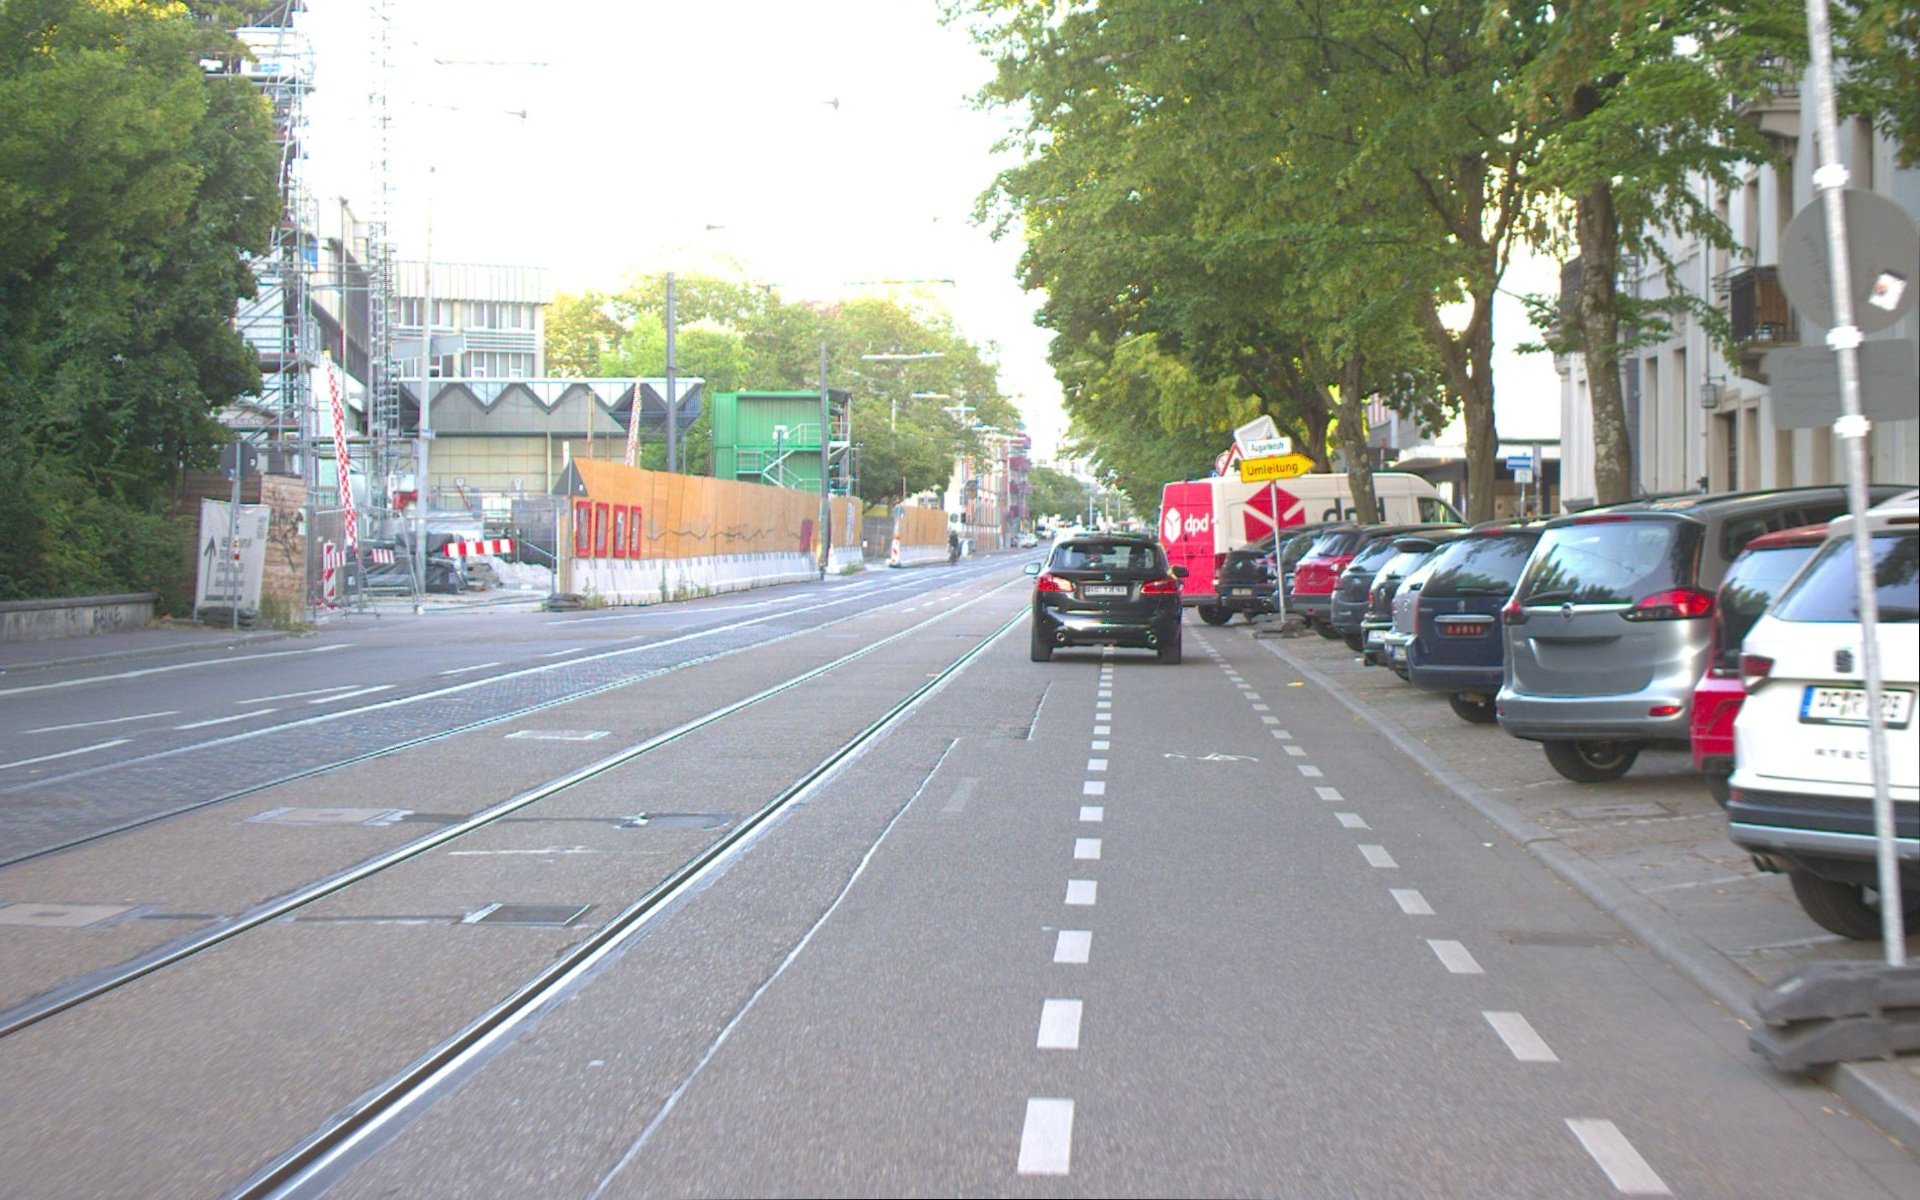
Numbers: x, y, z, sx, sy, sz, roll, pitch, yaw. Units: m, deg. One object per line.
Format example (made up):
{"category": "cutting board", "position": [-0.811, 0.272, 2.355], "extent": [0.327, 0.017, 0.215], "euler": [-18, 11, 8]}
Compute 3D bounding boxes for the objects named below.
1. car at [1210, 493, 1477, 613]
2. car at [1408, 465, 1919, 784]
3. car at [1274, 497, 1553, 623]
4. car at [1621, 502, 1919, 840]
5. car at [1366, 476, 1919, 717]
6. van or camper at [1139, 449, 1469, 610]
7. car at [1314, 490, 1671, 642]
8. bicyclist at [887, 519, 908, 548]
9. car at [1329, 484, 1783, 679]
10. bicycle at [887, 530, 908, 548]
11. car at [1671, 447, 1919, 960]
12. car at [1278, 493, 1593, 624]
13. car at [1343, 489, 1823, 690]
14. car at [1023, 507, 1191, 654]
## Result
{"category": "car", "position": [6.397, -0.787, 57.345], "extent": [3.941, 1.759, 1.841], "euler": [-4, 1, -23]}
{"category": "car", "position": [4.758, 0.079, 20.487], "extent": [3.944, 1.663, 1.901], "euler": [-4, 1, -40]}
{"category": "car", "position": [7.230, -0.636, 54.789], "extent": [3.941, 1.759, 1.841], "euler": [-4, 1, -23]}
{"category": "car", "position": [5.470, 0.234, 17.391], "extent": [3.942, 1.472, 1.830], "euler": [-4, 3, -32]}
{"category": "car", "position": [5.289, -0.054, 26.299], "extent": [3.942, 1.598, 1.840], "euler": [-3, 1, -29]}
{"category": "van or camper", "position": [6.098, -1.255, 60.648], "extent": [5.532, 2.522, 2.087], "euler": [-4, 1, -32]}
{"category": "car", "position": [6.537, -0.422, 42.173], "extent": [3.942, 1.598, 1.840], "euler": [-4, 1, -29]}
{"category": "bicyclist", "position": [-2.970, -3.140, 162.720], "extent": [0.944, 1.341, 1.111], "euler": [-1, 2, 0]}
{"category": "car", "position": [5.741, -0.194, 33.057], "extent": [3.942, 1.598, 1.840], "euler": [-4, 1, -29]}
{"category": "bicycle", "position": [-2.970, -2.905, 163.502], "extent": [0.948, 0.846, 2.697], "euler": [0, 1, 0]}
{"category": "car", "position": [4.625, 0.227, 12.095], "extent": [3.942, 1.621, 1.674], "euler": [-3, 2, -27]}
{"category": "car", "position": [6.715, -0.589, 48.541], "extent": [3.941, 1.598, 1.841], "euler": [-4, 1, -23]}
{"category": "car", "position": [5.585, -0.109, 30.709], "extent": [3.942, 1.598, 1.840], "euler": [-3, 1, -32]}
{"category": "car", "position": [1.780, -0.270, 41.752], "extent": [1.882, 1.614, 4.000], "euler": [2, 1, 2]}
